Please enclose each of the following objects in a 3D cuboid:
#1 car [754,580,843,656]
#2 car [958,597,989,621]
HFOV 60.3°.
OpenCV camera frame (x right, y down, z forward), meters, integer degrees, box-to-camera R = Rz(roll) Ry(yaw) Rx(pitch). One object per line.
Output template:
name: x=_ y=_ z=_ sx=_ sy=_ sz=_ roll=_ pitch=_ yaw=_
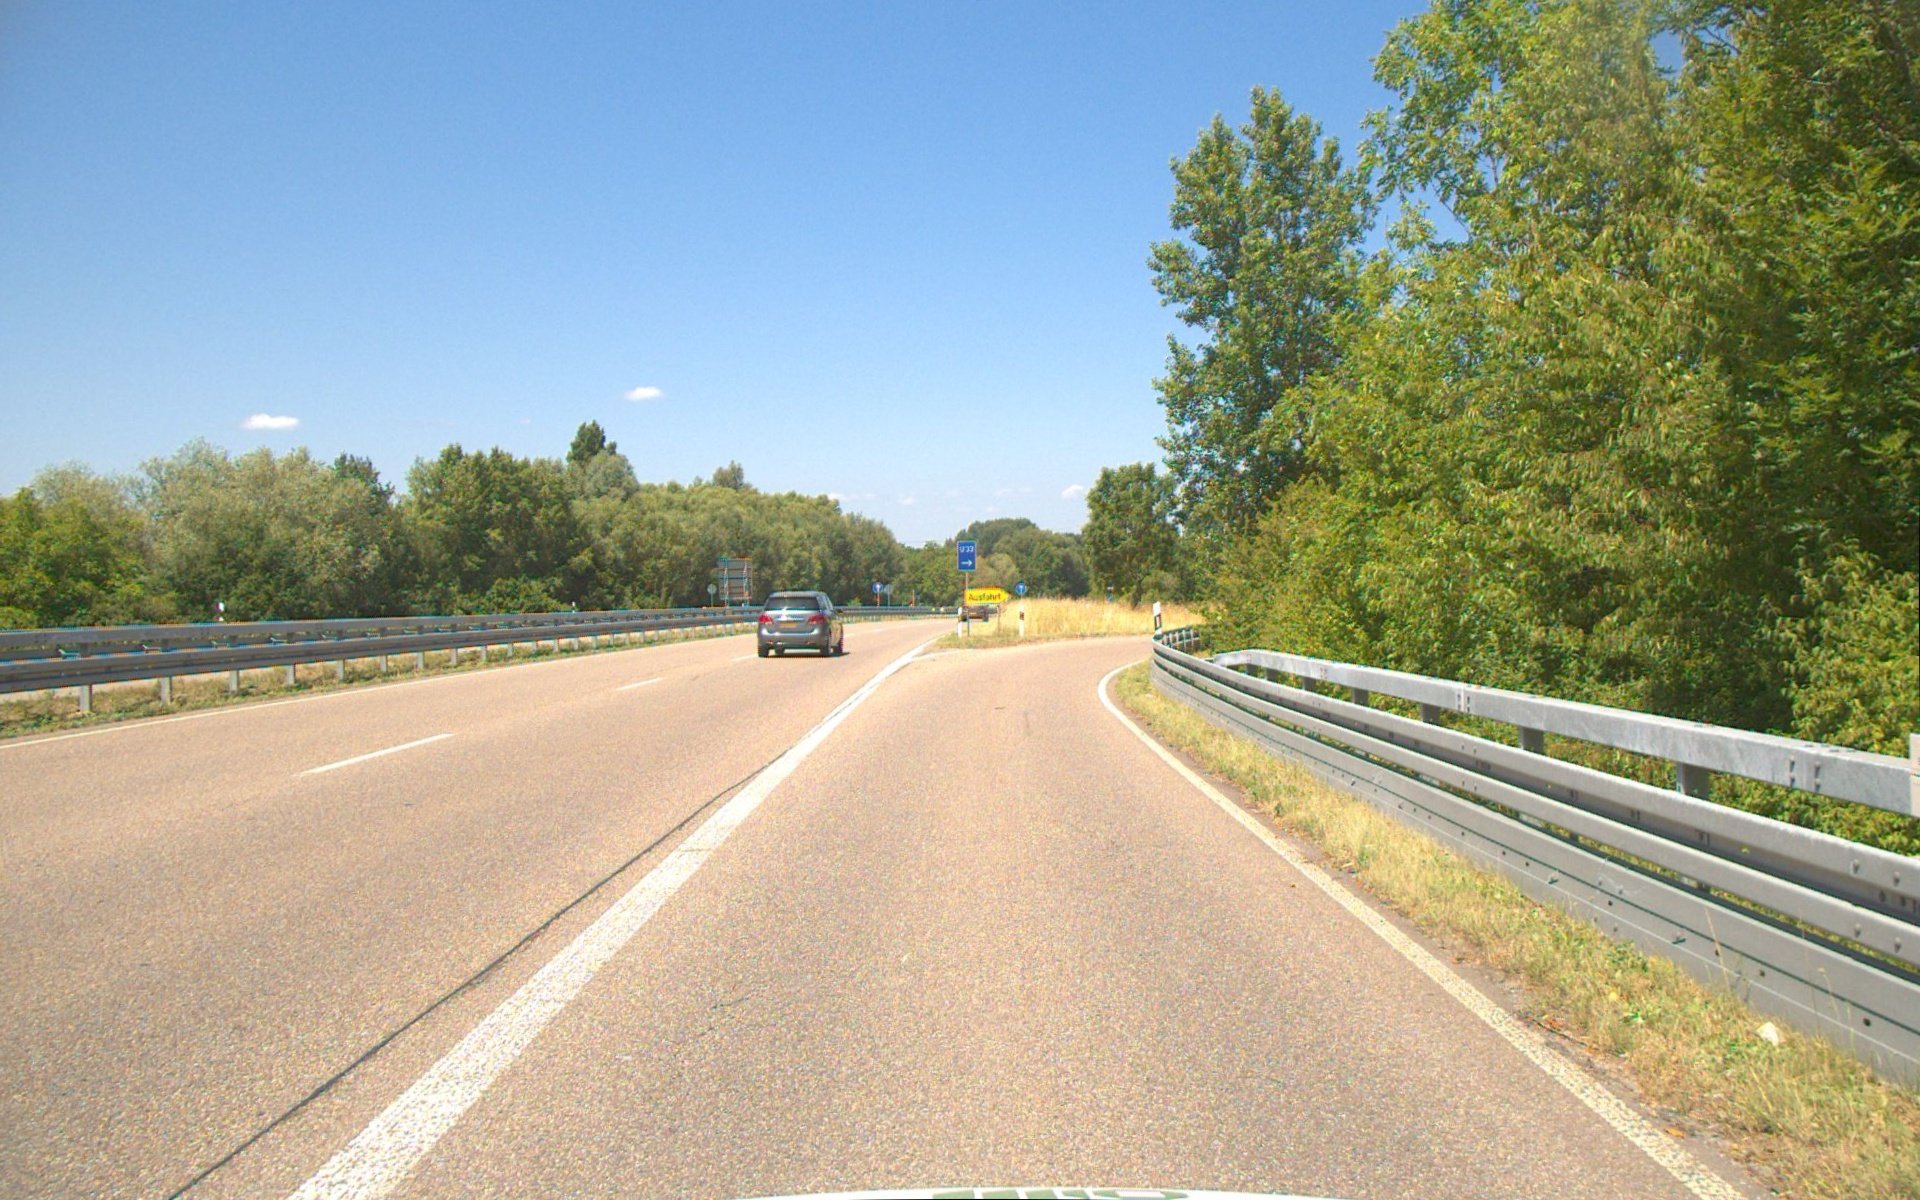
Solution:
car: x=-3.978 y=0.397 z=41.286 sx=1.756 sy=1.696 sz=4.555 roll=1 pitch=1 yaw=0
car: x=1.009 y=0.625 z=119.526 sx=1.802 sy=1.556 sz=4.473 roll=1 pitch=1 yaw=5
